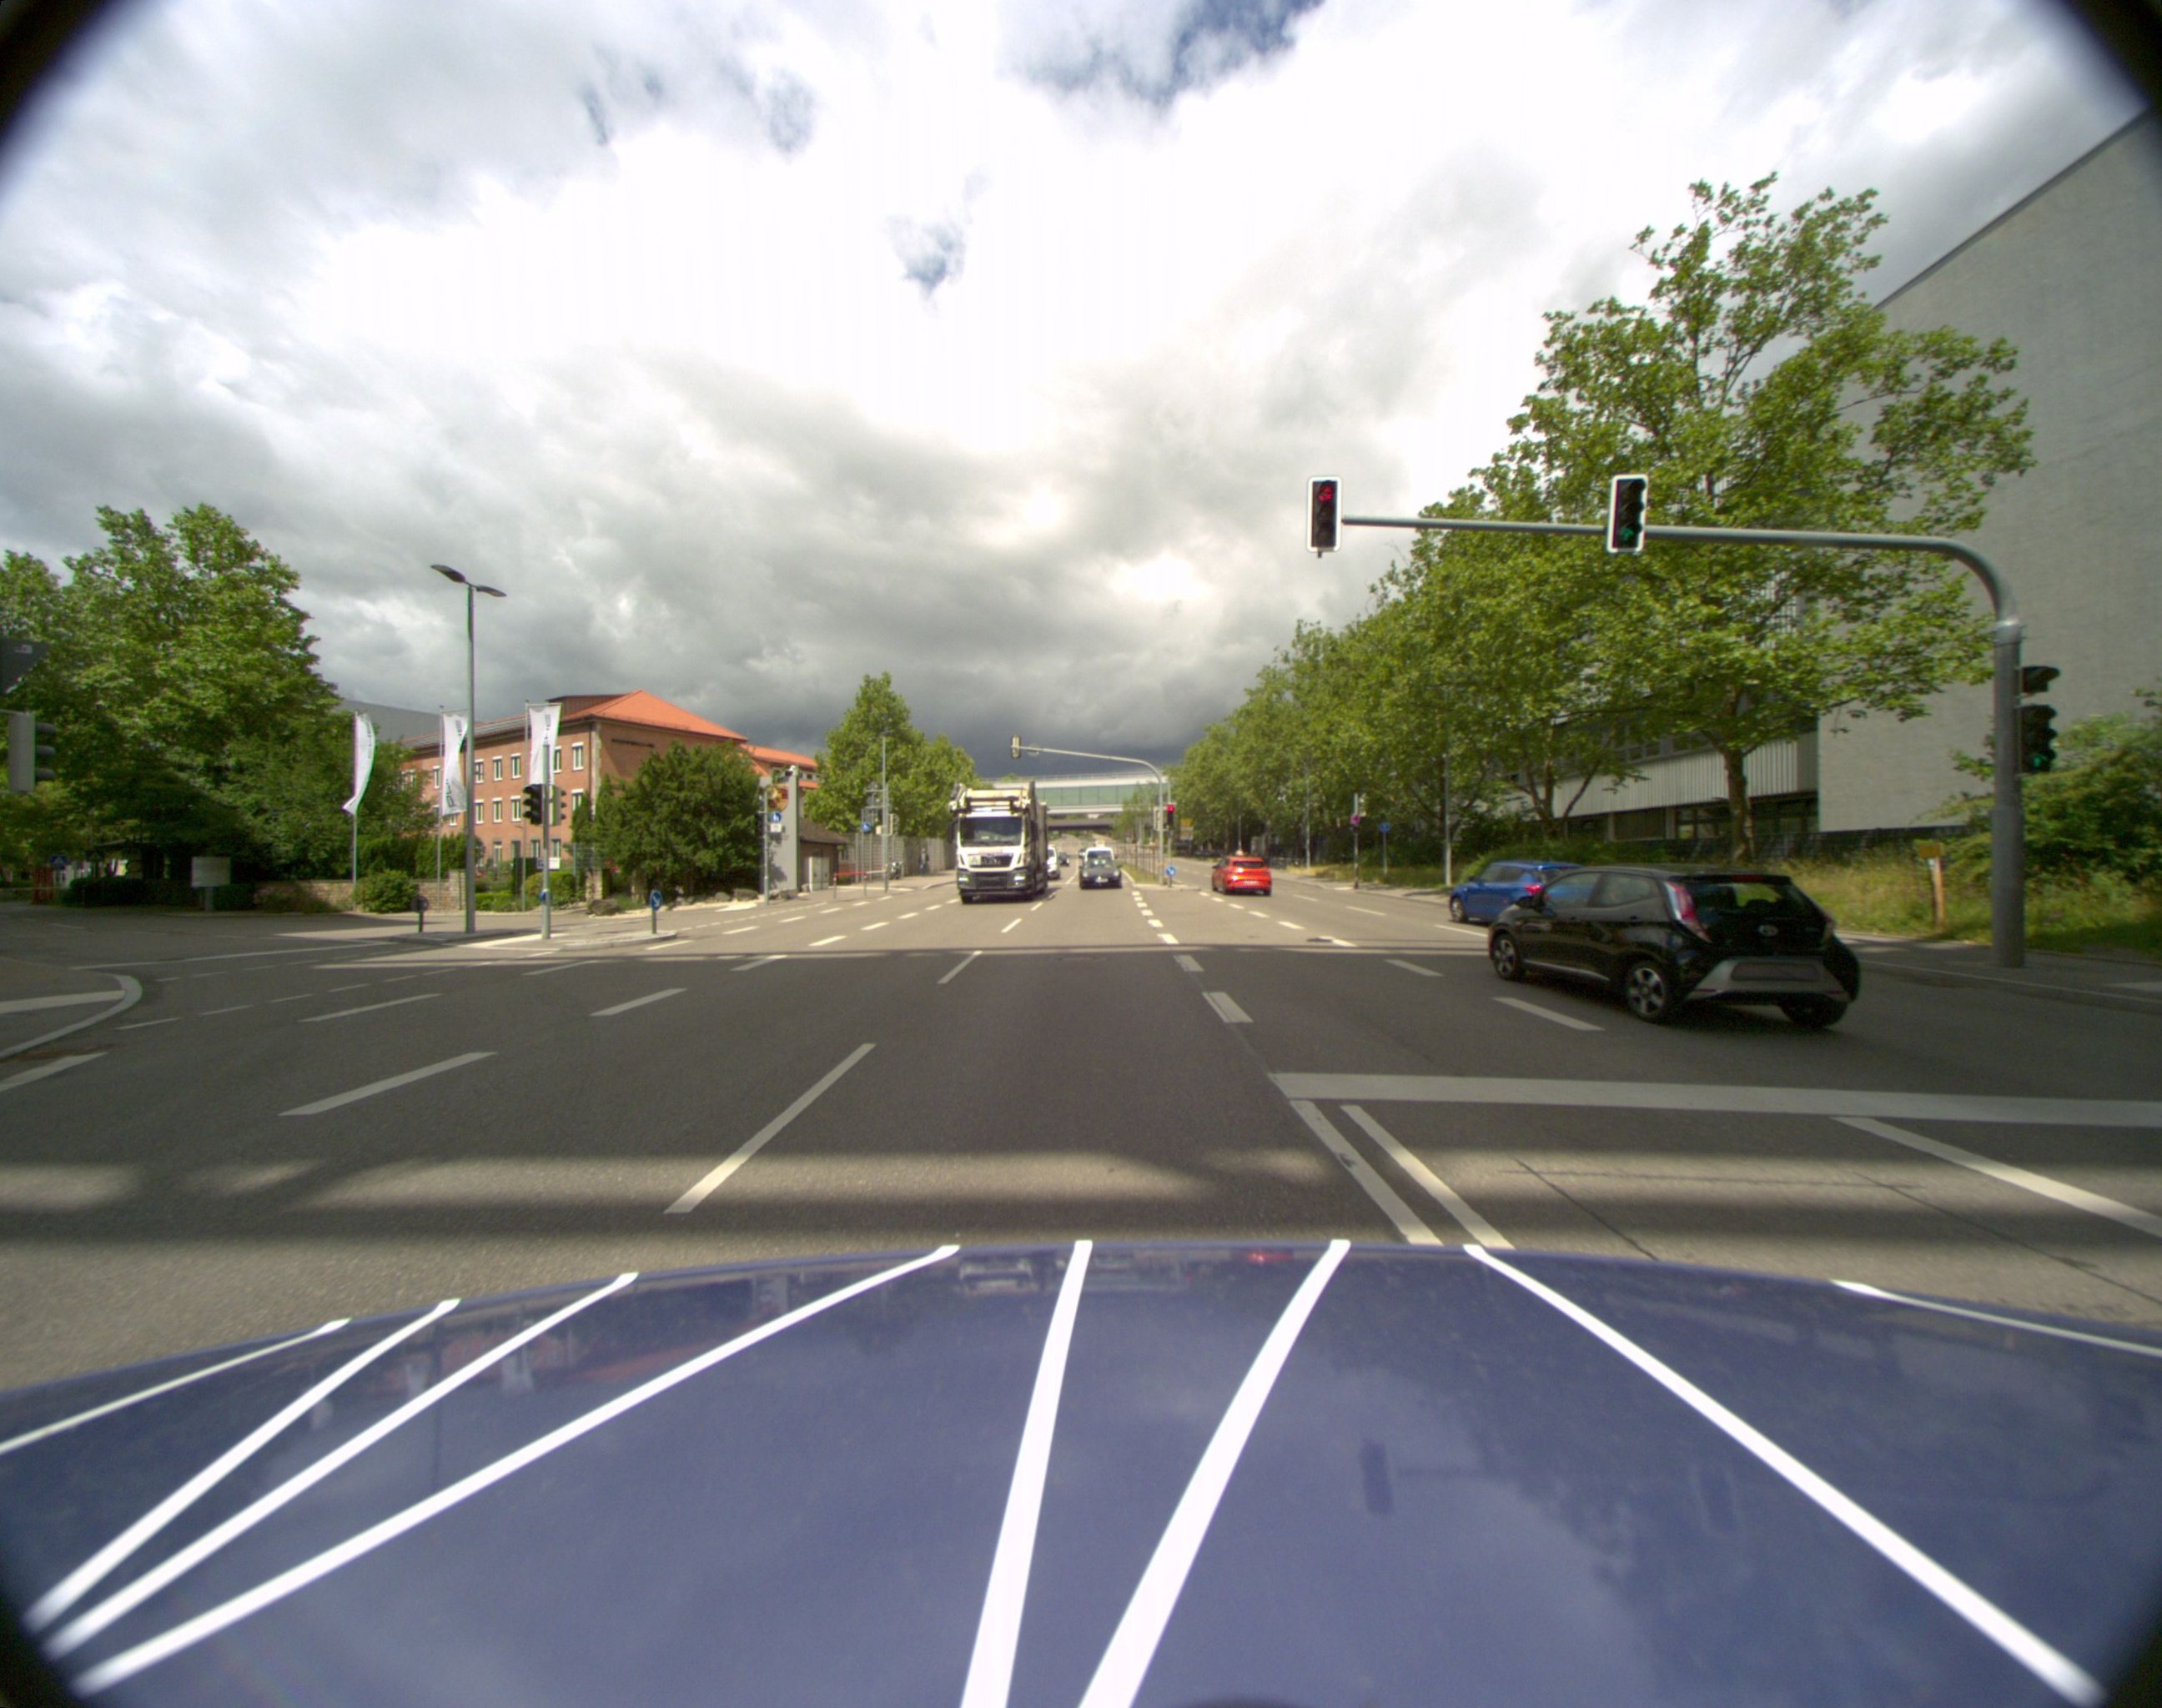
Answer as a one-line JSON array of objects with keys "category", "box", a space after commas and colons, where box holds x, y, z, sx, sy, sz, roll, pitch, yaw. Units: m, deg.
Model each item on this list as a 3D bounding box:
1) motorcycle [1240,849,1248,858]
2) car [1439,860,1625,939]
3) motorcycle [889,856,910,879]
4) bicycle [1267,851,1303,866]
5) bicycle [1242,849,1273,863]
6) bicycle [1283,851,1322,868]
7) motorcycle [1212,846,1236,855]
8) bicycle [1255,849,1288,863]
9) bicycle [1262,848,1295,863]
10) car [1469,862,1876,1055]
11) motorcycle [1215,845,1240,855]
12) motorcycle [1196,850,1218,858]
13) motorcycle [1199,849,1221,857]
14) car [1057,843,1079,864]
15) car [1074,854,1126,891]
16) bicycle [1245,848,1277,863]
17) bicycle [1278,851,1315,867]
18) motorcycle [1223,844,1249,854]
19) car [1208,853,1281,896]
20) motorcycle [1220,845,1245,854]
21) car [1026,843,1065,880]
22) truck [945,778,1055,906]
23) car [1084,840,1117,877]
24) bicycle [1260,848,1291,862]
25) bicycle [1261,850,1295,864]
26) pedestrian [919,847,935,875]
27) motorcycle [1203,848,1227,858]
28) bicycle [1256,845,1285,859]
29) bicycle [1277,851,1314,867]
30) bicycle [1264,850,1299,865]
[{"category": "motorcycle", "box": [20.023, -0.035, 93.260, 0.599, 1.029, 2.591, -2, -2, 4]}, {"category": "car", "box": [9.346, 0.869, 16.143, 1.697, 1.421, 3.822, 0, 0, 0]}, {"category": "motorcycle", "box": [-10.193, 0.724, 42.717, 0.570, 1.219, 2.175, 1, 1, 1]}, {"category": "bicycle", "box": [15.684, 0.357, 58.379, 2.564, 1.079, 0.615, -2, 1, -7]}, {"category": "bicycle", "box": [15.629, 0.144, 67.189, 2.562, 1.171, 0.615, -2, 1, 2]}, {"category": "bicycle", "box": [15.791, 0.404, 54.117, 2.561, 1.079, 0.616, -2, 1, 7]}, {"category": "motorcycle", "box": [17.406, -0.427, 92.825, 2.829, 1.029, 0.600, -2, -2, 7]}, {"category": "bicycle", "box": [15.783, 0.144, 63.019, 2.561, 1.079, 0.616, -2, 1, 7]}, {"category": "bicycle", "box": [16.071, 0.130, 61.927, 2.559, 1.079, 0.616, -2, 1, 14]}, {"category": "car", "box": [5.836, 0.890, 8.132, 1.561, 1.496, 3.613, 1, 1, 1]}, {"category": "motorcycle", "box": [17.465, -0.466, 90.679, 2.830, 1.029, 0.600, -2, -2, 4]}, {"category": "motorcycle", "box": [16.857, -0.021, 101.947, 2.830, 1.029, 0.600, -2, -2, 4]}, {"category": "motorcycle", "box": [16.756, -0.124, 98.729, 2.830, 1.029, 0.600, -2, -2, 4]}, {"category": "car", "box": [-1.328, -0.090, 78.181, 1.871, 1.944, 4.711, -3, 1, 2]}, {"category": "car", "box": [0.855, 0.733, 31.847, 1.838, 1.318, 4.001, -3, 1, 5]}, {"category": "bicycle", "box": [15.669, 0.125, 66.160, 2.562, 1.171, 0.615, -2, 1, 2]}, {"category": "bicycle", "box": [15.953, 0.375, 56.276, 2.560, 1.079, 0.616, -2, 1, 8]}, {"category": "motorcycle", "box": [17.771, -0.609, 87.294, 2.830, 1.029, 0.600, -2, -2, 4]}, {"category": "car", "box": [6.132, 0.739, 28.900, 1.889, 1.446, 3.902, 1, 1, 0]}, {"category": "motorcycle", "box": [17.797, -0.542, 89.298, 2.830, 1.029, 0.600, -2, -2, 4]}, {"category": "car", "box": [-2.042, 0.404, 45.124, 1.871, 1.944, 4.711, -2, 1, 2]}, {"category": "truck", "box": [-2.655, -0.447, 28.738, 2.713, 3.863, 10.740, -2, 1, 1]}, {"category": "car", "box": [1.108, 0.312, 44.076, 1.824, 2.001, 4.392, -1, -1, 1]}, {"category": "bicycle", "box": [16.382, 0.085, 63.884, 2.413, 1.079, 0.615, -2, 1, 0]}, {"category": "bicycle", "box": [15.812, 0.229, 60.961, 2.561, 1.079, 0.628, -2, 1, 4]}, {"category": "pedestrian", "box": [-9.877, 0.434, 48.621, 0.729, 1.756, 1.015, -2, 1, 1]}, {"category": "motorcycle", "box": [16.524, -0.120, 93.996, 2.830, 1.029, 0.600, -2, -2, 4]}, {"category": "bicycle", "box": [16.270, -0.164, 65.280, 2.411, 1.079, 0.616, -2, 1, 11]}, {"category": "bicycle", "box": [15.618, 0.364, 55.340, 2.561, 1.079, 0.616, -2, 1, 7]}, {"category": "bicycle", "box": [15.806, 0.275, 60.021, 2.562, 1.079, 0.615, -2, 1, 0]}]
